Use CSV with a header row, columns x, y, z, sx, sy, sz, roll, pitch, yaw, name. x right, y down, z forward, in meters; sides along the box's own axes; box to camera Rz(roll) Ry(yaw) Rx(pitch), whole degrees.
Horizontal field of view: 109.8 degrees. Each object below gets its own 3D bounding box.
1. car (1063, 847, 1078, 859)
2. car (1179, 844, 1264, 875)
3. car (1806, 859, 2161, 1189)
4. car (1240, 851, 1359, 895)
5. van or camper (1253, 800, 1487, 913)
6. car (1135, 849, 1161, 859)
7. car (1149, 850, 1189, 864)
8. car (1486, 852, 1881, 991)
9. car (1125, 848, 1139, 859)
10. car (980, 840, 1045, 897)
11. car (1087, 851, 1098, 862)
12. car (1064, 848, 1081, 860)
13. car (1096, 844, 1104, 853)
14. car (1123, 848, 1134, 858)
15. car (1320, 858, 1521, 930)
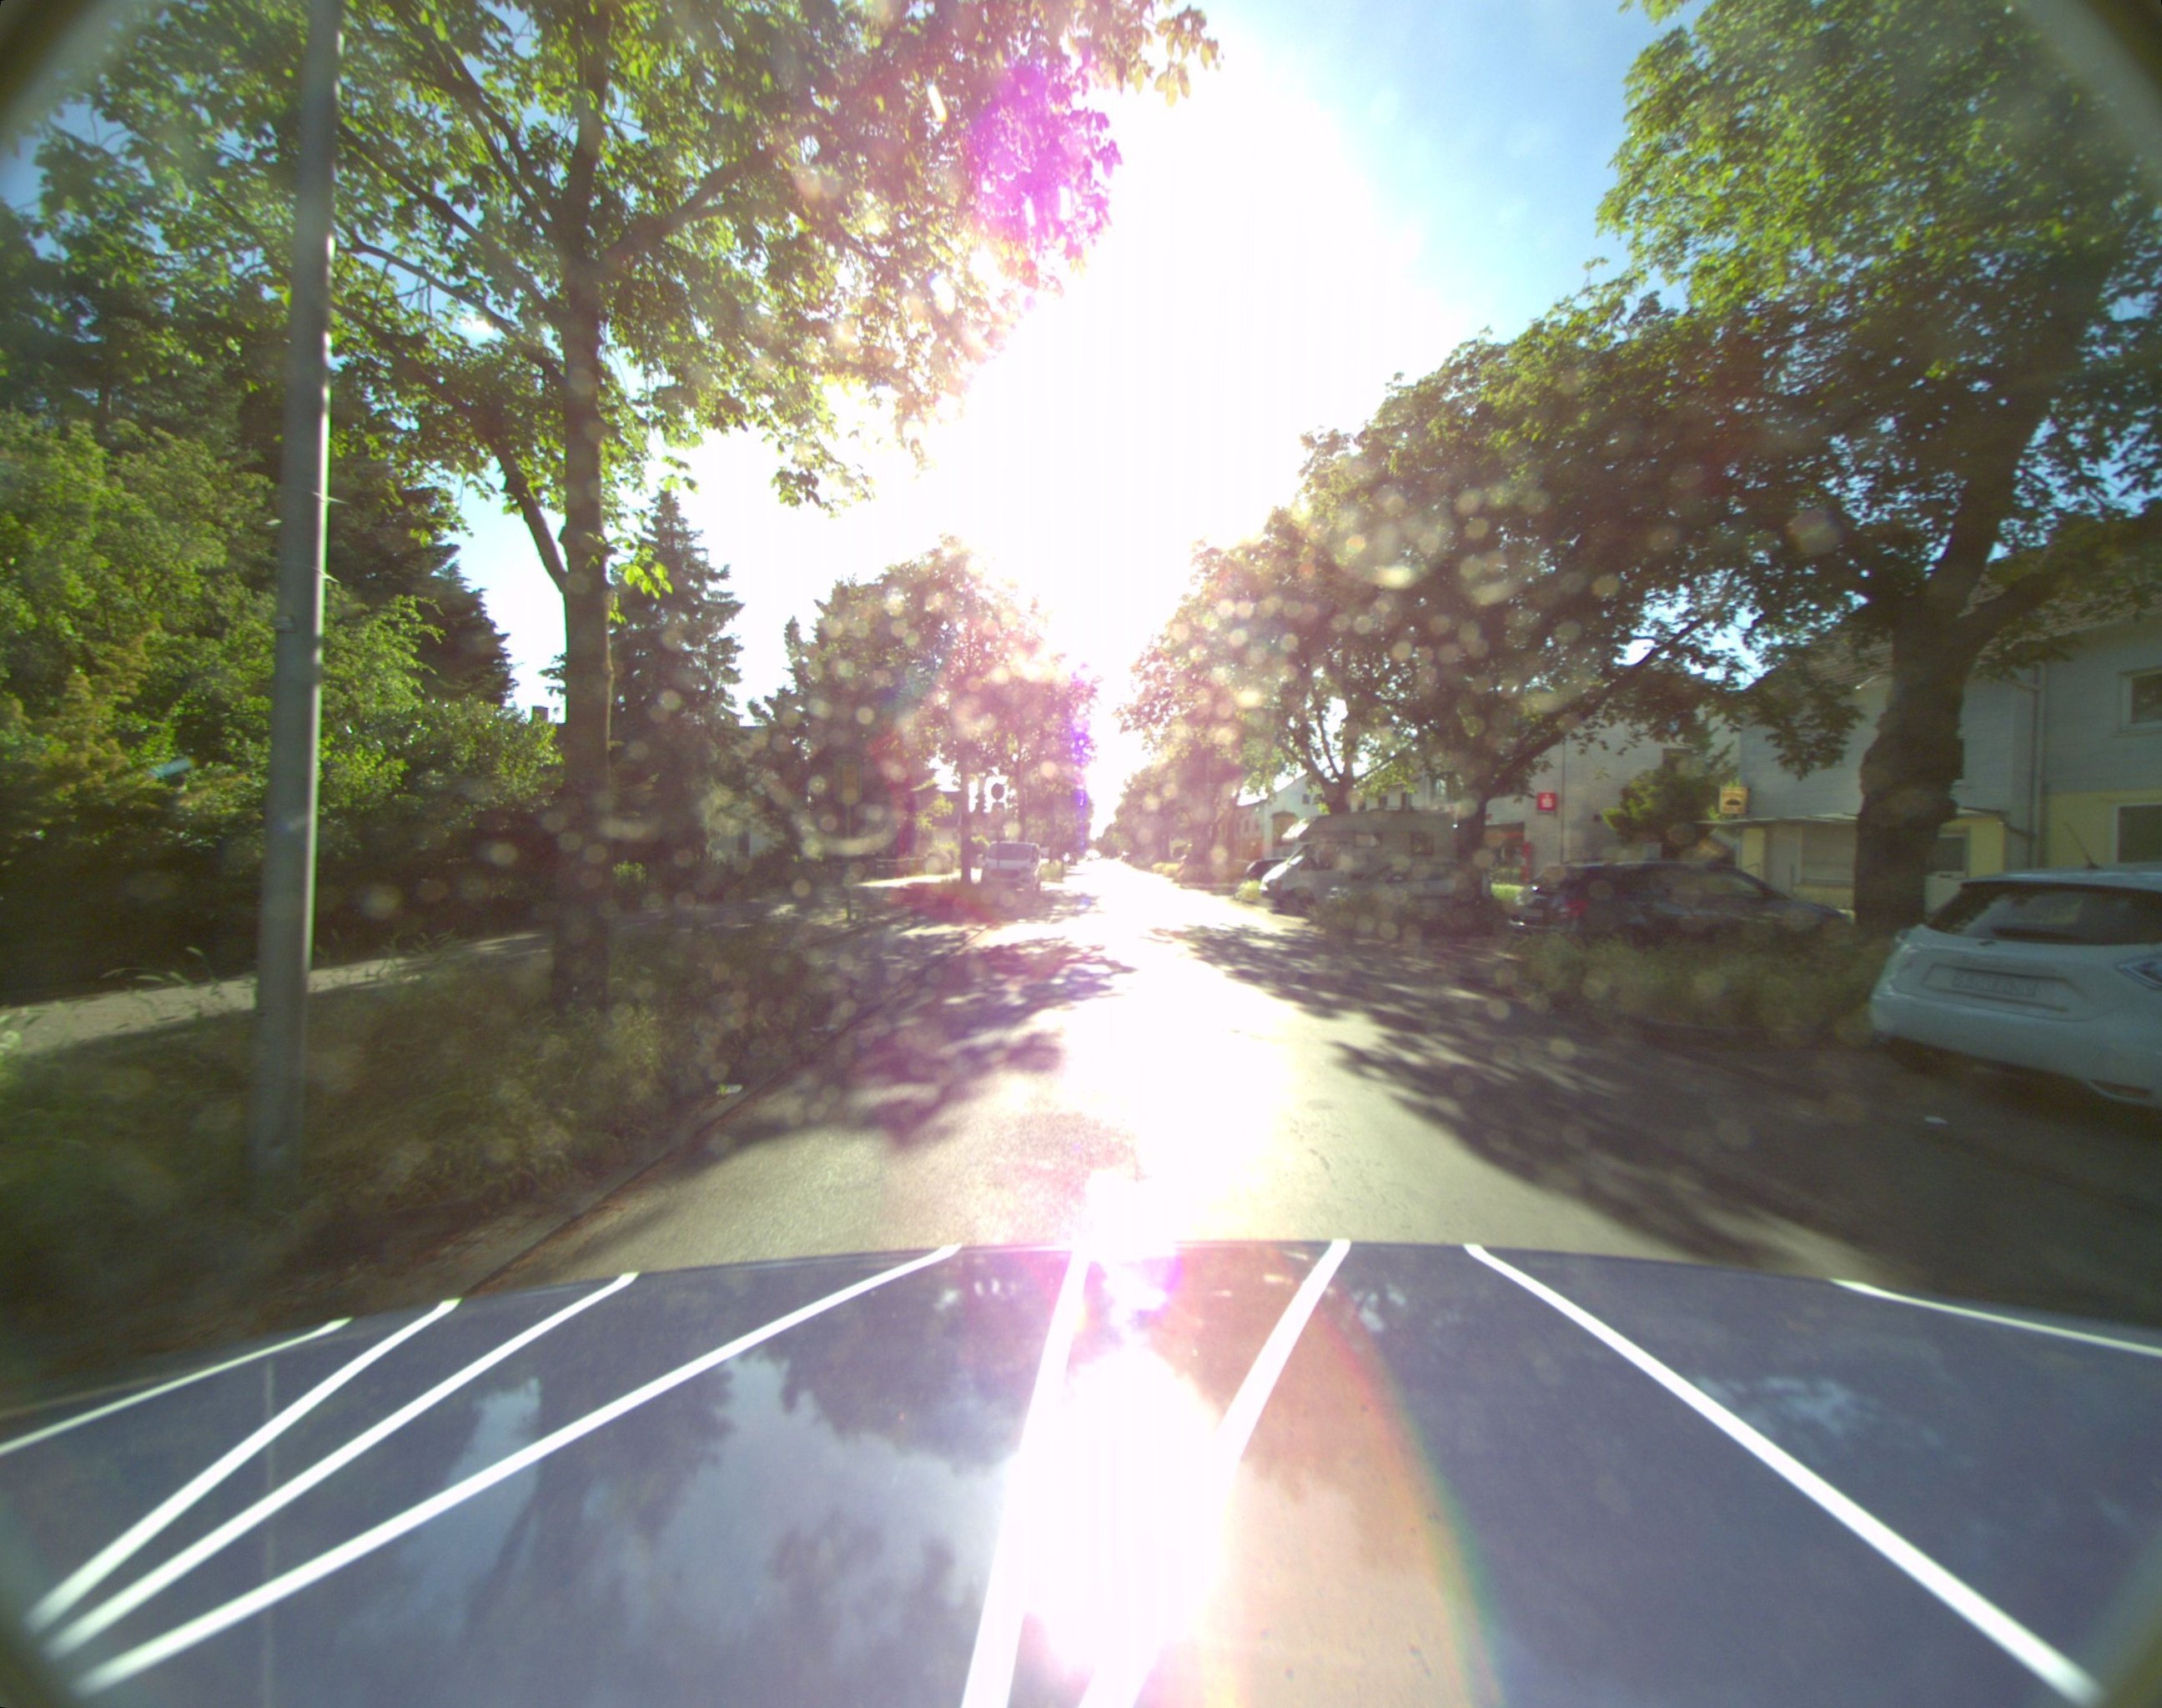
x,y,z,sx,sy,sz,roll,pitch,yaw,name
-1.307,-0.157,97.562,1.690,1.414,3.777,2,1,2,car
9.087,0.312,49.323,5.075,1.718,1.999,-3,1,-3,car
7.488,0.869,4.766,3.997,1.651,1.966,0,1,0,car
8.065,0.689,28.310,3.996,1.441,1.639,-2,1,4,car
8.002,0.064,21.477,5.789,2.789,2.000,-3,1,3,van or camper
10.094,-0.027,114.341,3.695,1.315,1.624,-1,1,-5,car
10.053,0.347,86.961,4.392,1.408,2.000,-1,1,0,car
8.293,0.865,10.775,3.997,1.580,1.999,-3,1,0,car
8.004,-0.046,119.125,1.998,1.530,3.695,-3,1,3,car
-2.600,0.478,30.068,1.999,2.002,5.195,-3,1,0,car
1.929,0.370,124.818,1.539,1.582,3.458,-3,1,3,car
-1.119,-0.024,103.328,1.941,1.684,4.363,0,1,3,car
3.655,-0.998,146.057,1.539,1.582,3.458,-3,1,3,car
8.131,-0.193,130.440,1.815,1.722,4.056,1,1,3,car
8.186,0.941,18.619,3.997,1.450,1.999,-3,1,-1,car
